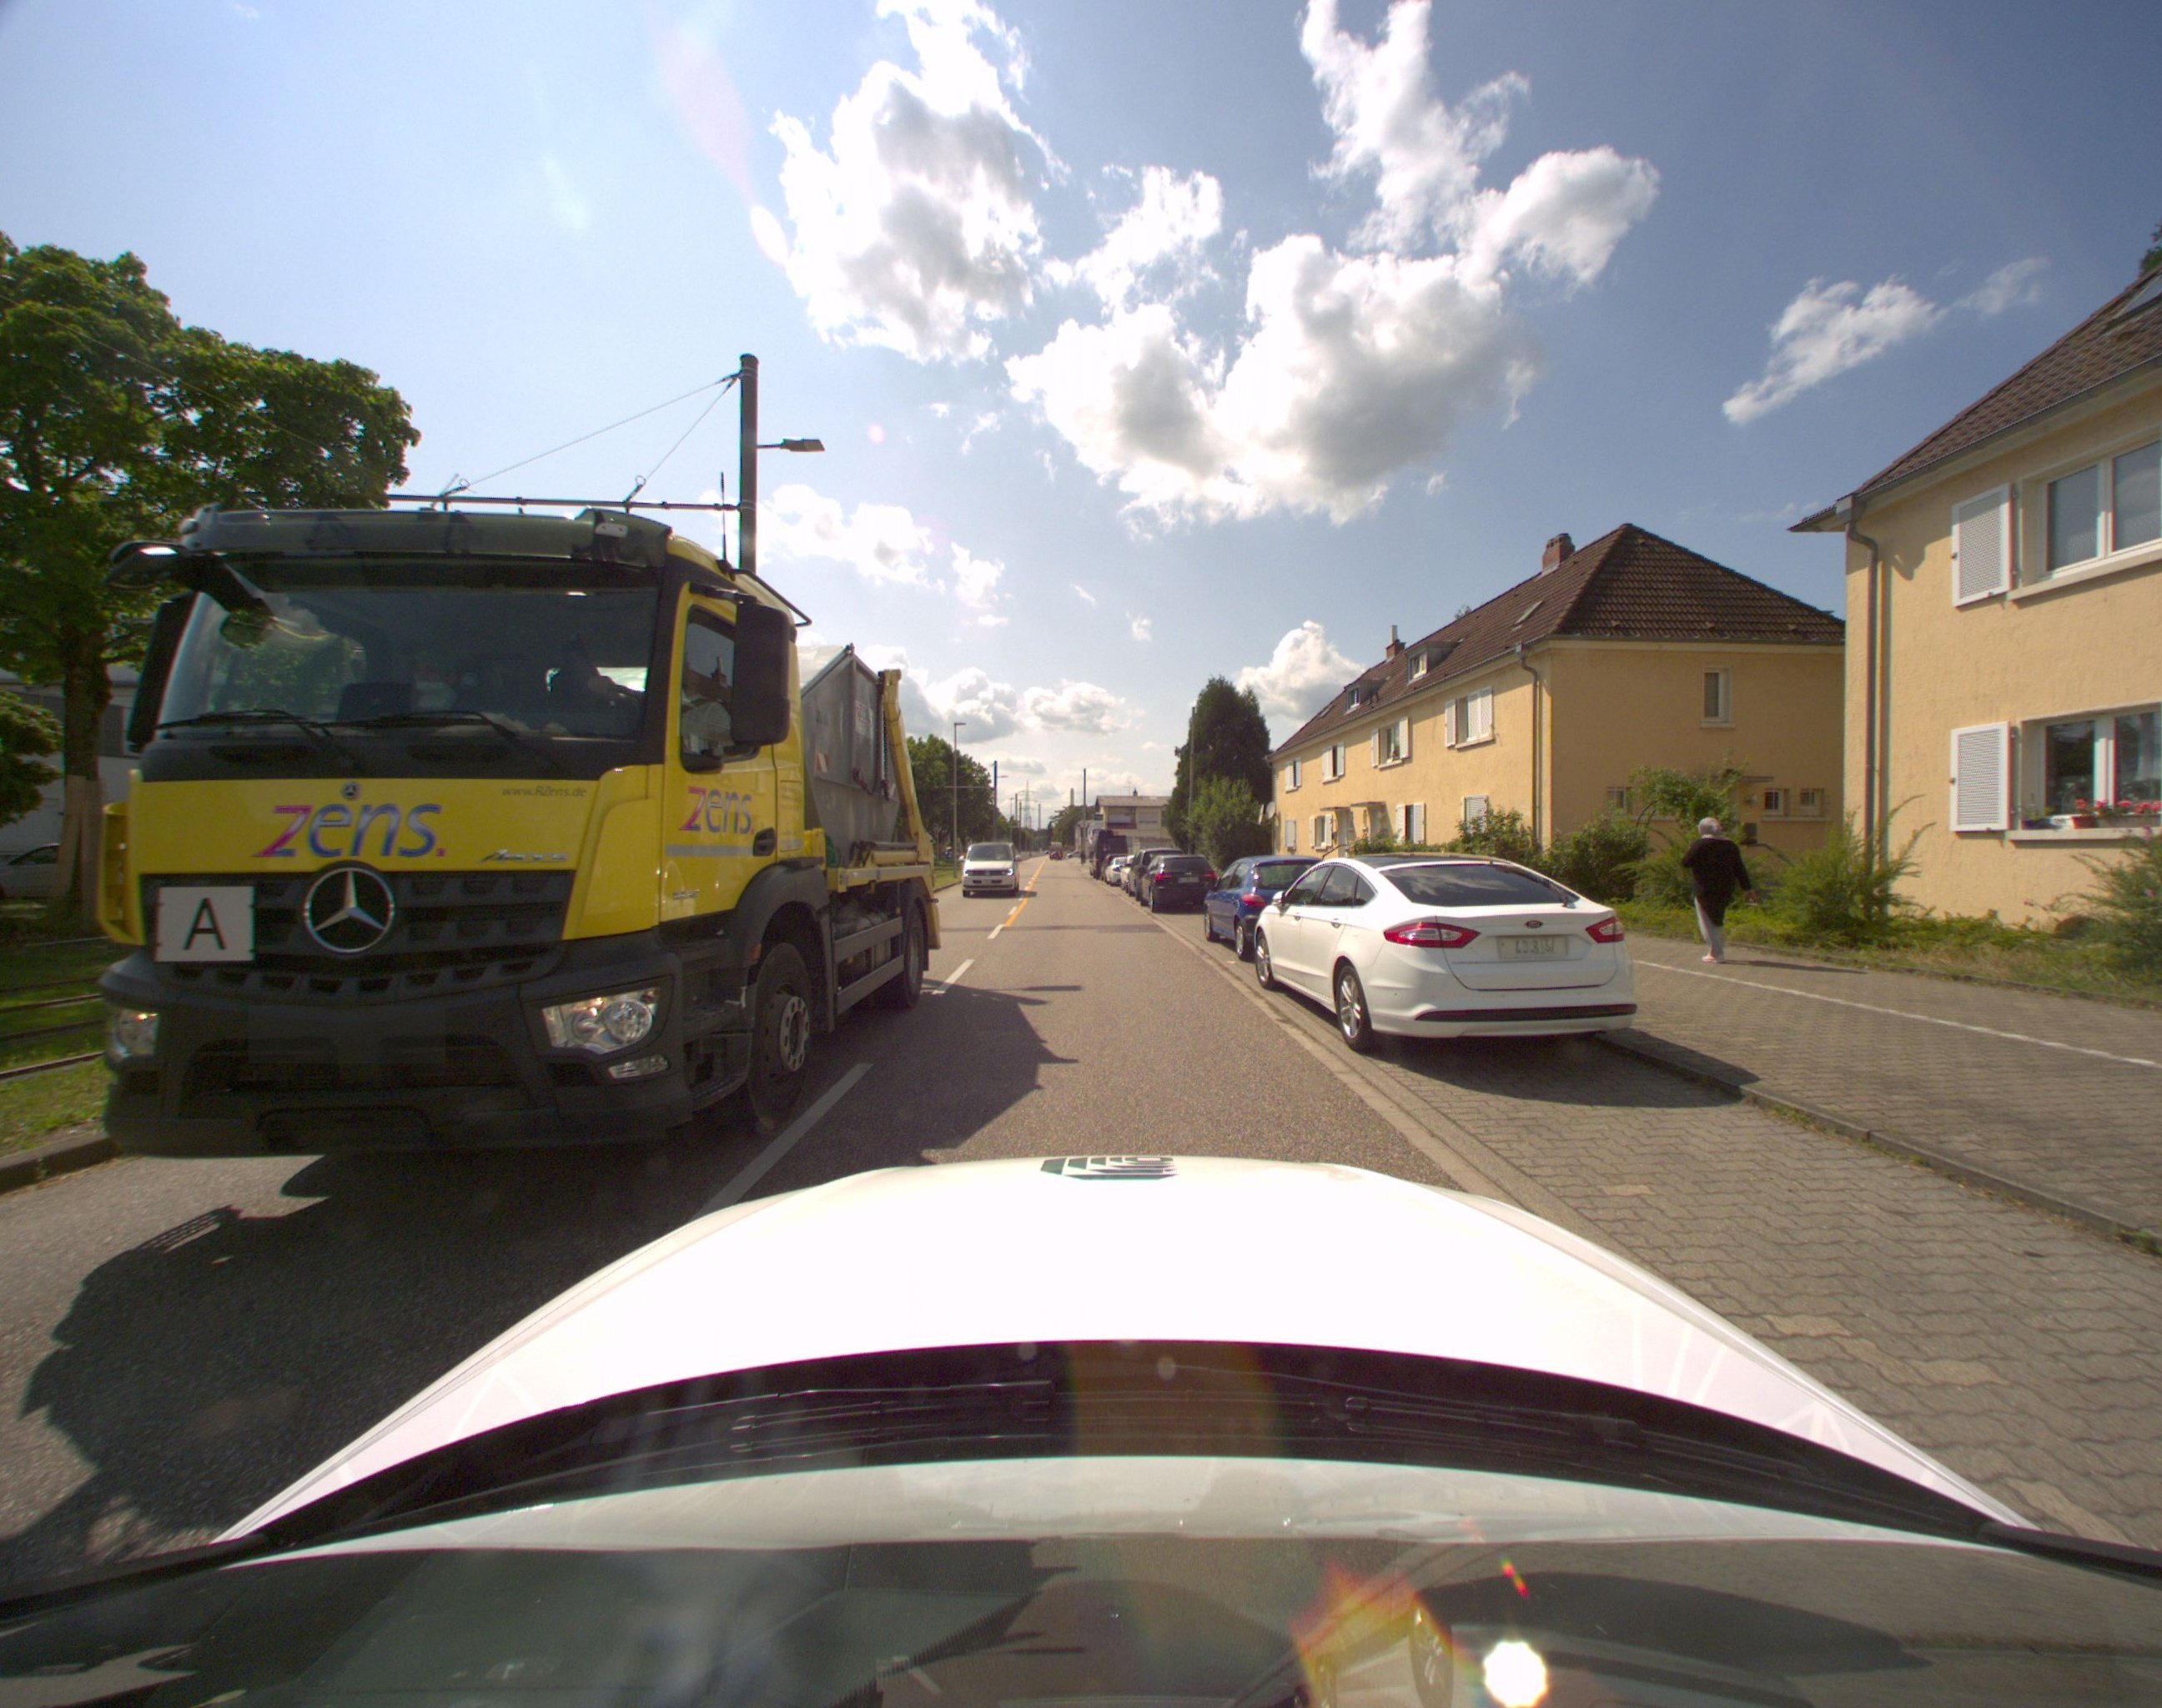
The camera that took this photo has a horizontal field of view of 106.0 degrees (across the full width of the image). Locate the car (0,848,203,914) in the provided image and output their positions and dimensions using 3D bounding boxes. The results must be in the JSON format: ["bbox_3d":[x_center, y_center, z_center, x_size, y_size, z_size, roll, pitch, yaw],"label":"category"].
[{"bbox_3d":[-25.231,0.650,20.541,3.979,1.571,1.792,-1,0,-5],"label":"car"}]

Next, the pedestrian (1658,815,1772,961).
[{"bbox_3d":[7.415,0.377,9.552,0.850,1.652,0.637,0,0,3],"label":"pedestrian"}]

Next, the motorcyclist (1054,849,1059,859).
[{"bbox_3d":[-4.097,0.040,137.004,0.881,1.667,1.108,0,0,-3],"label":"motorcyclist"}]

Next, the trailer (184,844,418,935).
[{"bbox_3d":[-15.720,0.642,16.664,1.561,1.678,3.370,0,0,-1],"label":"trailer"}]

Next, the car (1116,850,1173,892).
[{"bbox_3d":[2.412,0.612,31.758,1.759,1.476,3.998,-2,0,-1],"label":"car"}]

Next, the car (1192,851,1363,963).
[{"bbox_3d":[2.889,0.697,12.827,1.616,1.417,3.998,-2,0,-1],"label":"car"}]

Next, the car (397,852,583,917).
[{"bbox_3d":[-15.911,0.749,22.278,1.723,1.505,4.566,-2,0,0],"label":"car"}]

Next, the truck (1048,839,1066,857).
[{"bbox_3d":[-4.820,-1.044,159.318,3.214,3.402,11.339,0,0,-3],"label":"truck"}]

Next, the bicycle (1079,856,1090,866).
[{"bbox_3d":[0.369,0.705,86.819,0.993,1.049,2.808,0,0,-4],"label":"bicycle"}]

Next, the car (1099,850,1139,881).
[{"bbox_3d":[1.964,0.573,43.153,1.759,1.502,3.998,-2,0,-1],"label":"car"}]

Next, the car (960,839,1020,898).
[{"bbox_3d":[-3.340,0.496,30.845,1.924,1.958,5.369,-2,0,-3],"label":"car"}]

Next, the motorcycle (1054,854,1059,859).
[{"bbox_3d":[-4.105,0.419,137.268,0.881,0.924,2.613,0,0,-2],"label":"motorcycle"}]

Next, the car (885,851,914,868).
[{"bbox_3d":[-17.118,0.468,76.986,1.874,1.553,4.394,0,0,-2],"label":"car"}]

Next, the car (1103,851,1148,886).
[{"bbox_3d":[2.025,0.637,37.974,1.759,1.439,3.998,-2,0,-1],"label":"car"}]

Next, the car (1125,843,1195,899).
[{"bbox_3d":[2.515,0.518,26.847,1.759,1.643,3.998,-2,0,-1],"label":"car"}]

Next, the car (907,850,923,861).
[{"bbox_3d":[-26.134,0.234,128.471,1.874,1.553,4.392,0,0,-3],"label":"car"}]

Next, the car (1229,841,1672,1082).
[{"bbox_3d":[2.804,0.695,7.585,1.794,1.458,4.761,-2,0,-2],"label":"car"}]

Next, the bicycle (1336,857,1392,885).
[{"bbox_3d":[9.834,0.597,28.297,1.857,0.956,0.366,0,0,-6],"label":"bicycle"}]

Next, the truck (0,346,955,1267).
[{"bbox_3d":[-2.922,-0.219,6.706,2.551,3.459,7.148,-2,0,0],"label":"truck"}]

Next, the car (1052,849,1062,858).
[{"bbox_3d":[-4.246,-0.052,142.190,1.565,1.498,4.143,0,0,-3],"label":"car"}]

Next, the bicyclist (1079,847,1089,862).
[{"bbox_3d":[0.359,0.046,86.874,0.993,1.569,1.138,0,0,-5],"label":"bicyclist"}]

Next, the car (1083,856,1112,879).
[{"bbox_3d":[1.114,0.944,57.613,1.759,1.502,3.996,-2,0,-2],"label":"car"}]

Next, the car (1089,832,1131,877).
[{"bbox_3d":[1.673,0.028,49.241,1.955,2.478,6.054,-2,0,-2],"label":"car"}]

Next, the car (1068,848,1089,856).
[{"bbox_3d":[-0.534,-0.410,179.816,4.637,1.823,1.831,0,0,-7],"label":"car"}]

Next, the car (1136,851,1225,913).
[{"bbox_3d":[2.528,0.661,21.606,1.759,1.417,3.998,-2,0,-1],"label":"car"}]
